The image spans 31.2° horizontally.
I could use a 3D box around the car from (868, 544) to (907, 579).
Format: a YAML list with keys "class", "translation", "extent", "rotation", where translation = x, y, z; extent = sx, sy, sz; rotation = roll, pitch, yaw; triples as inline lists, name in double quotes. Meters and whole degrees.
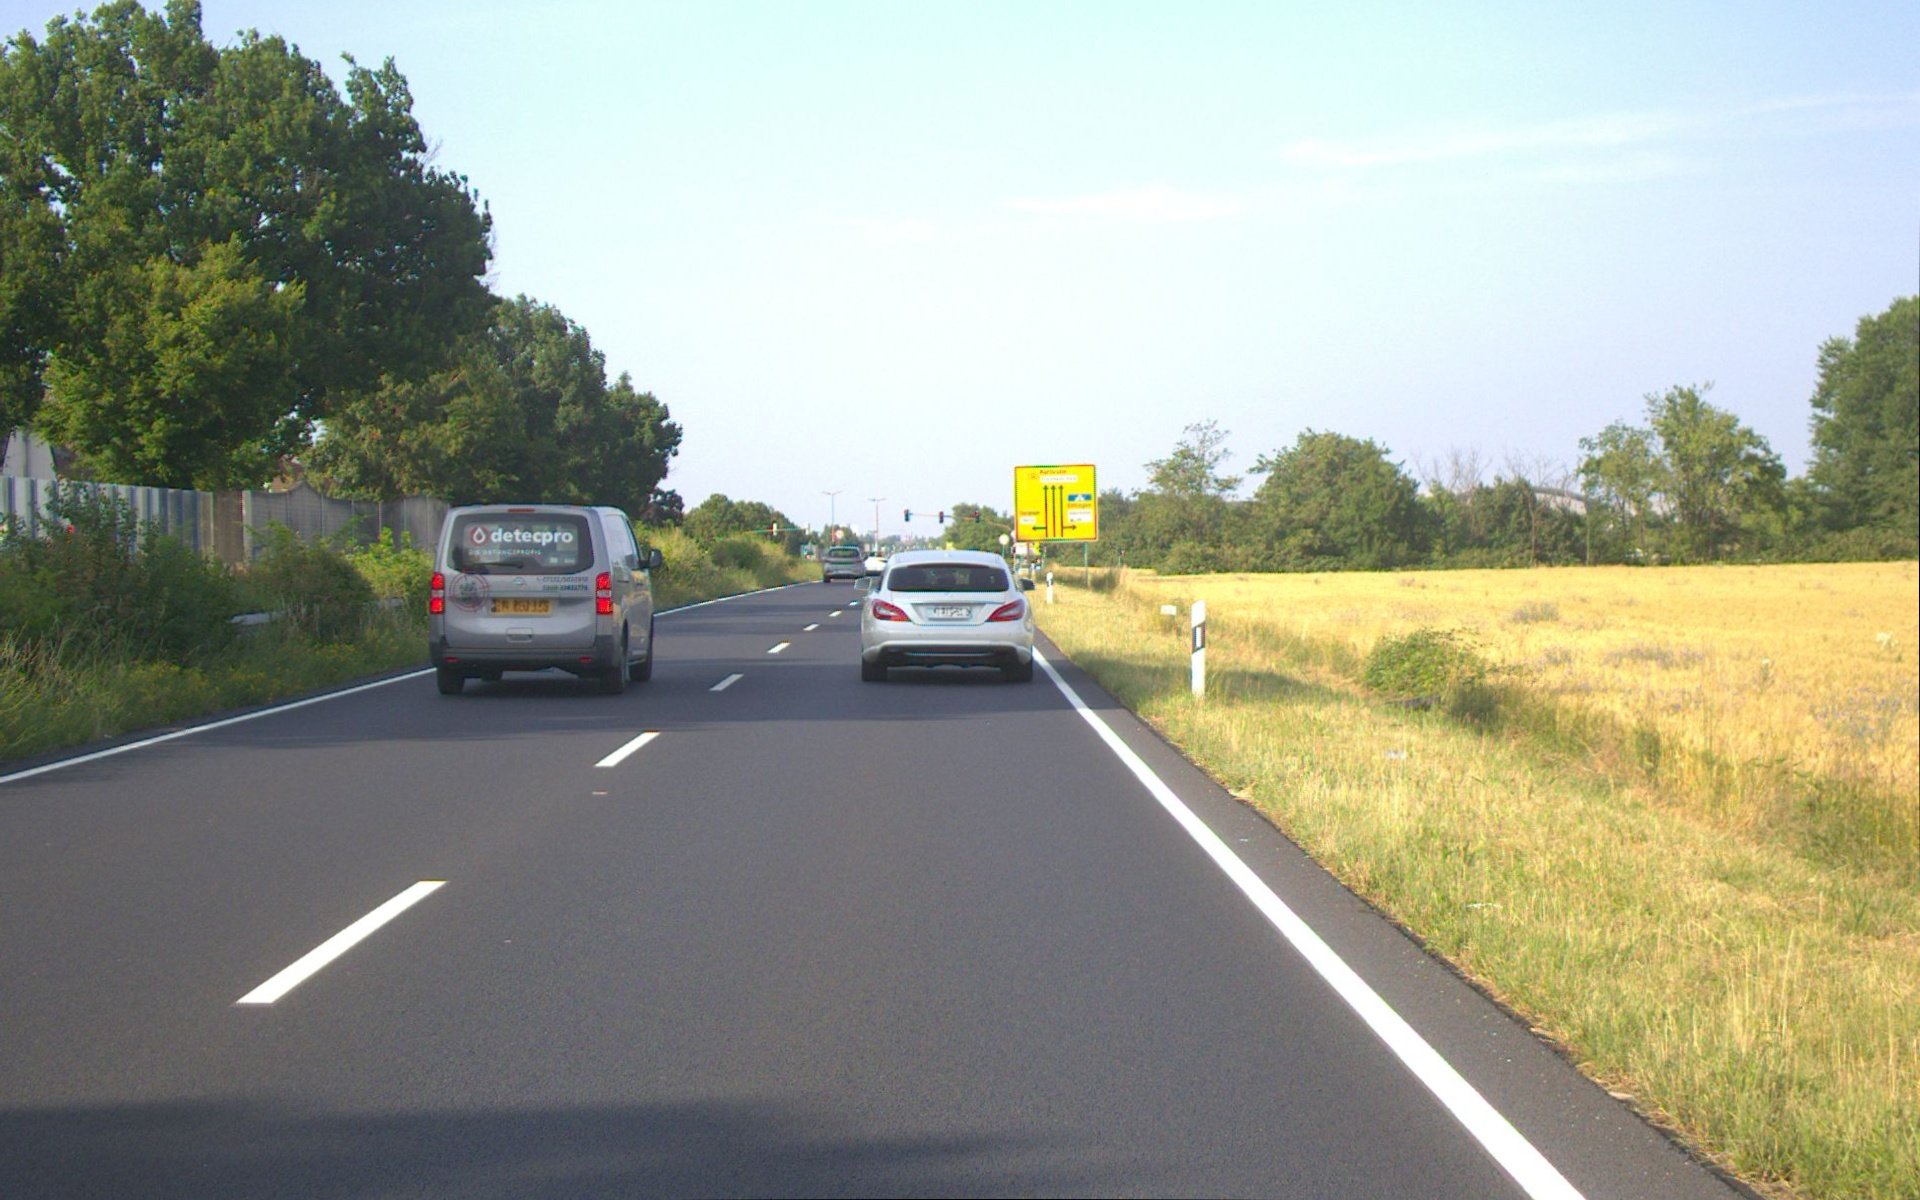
- class: "car"
  translation: [-3.587, -1.898, 168.884]
  extent: [1.877, 1.645, 3.664]
  rotation: [1, 1, -2]

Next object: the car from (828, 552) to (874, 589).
- class: "car"
  translation: [-4.480, -1.204, 141.635]
  extent: [1.717, 1.487, 3.584]
  rotation: [1, 1, 0]

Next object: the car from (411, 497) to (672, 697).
- class: "car"
  translation: [-4.218, -0.077, 35.394]
  extent: [2.025, 1.885, 4.958]
  rotation: [1, 1, 0]

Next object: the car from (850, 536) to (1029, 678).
- class: "car"
  translation: [-0.234, 0.056, 38.321]
  extent: [1.894, 1.503, 4.000]
  rotation: [0, 1, -1]
